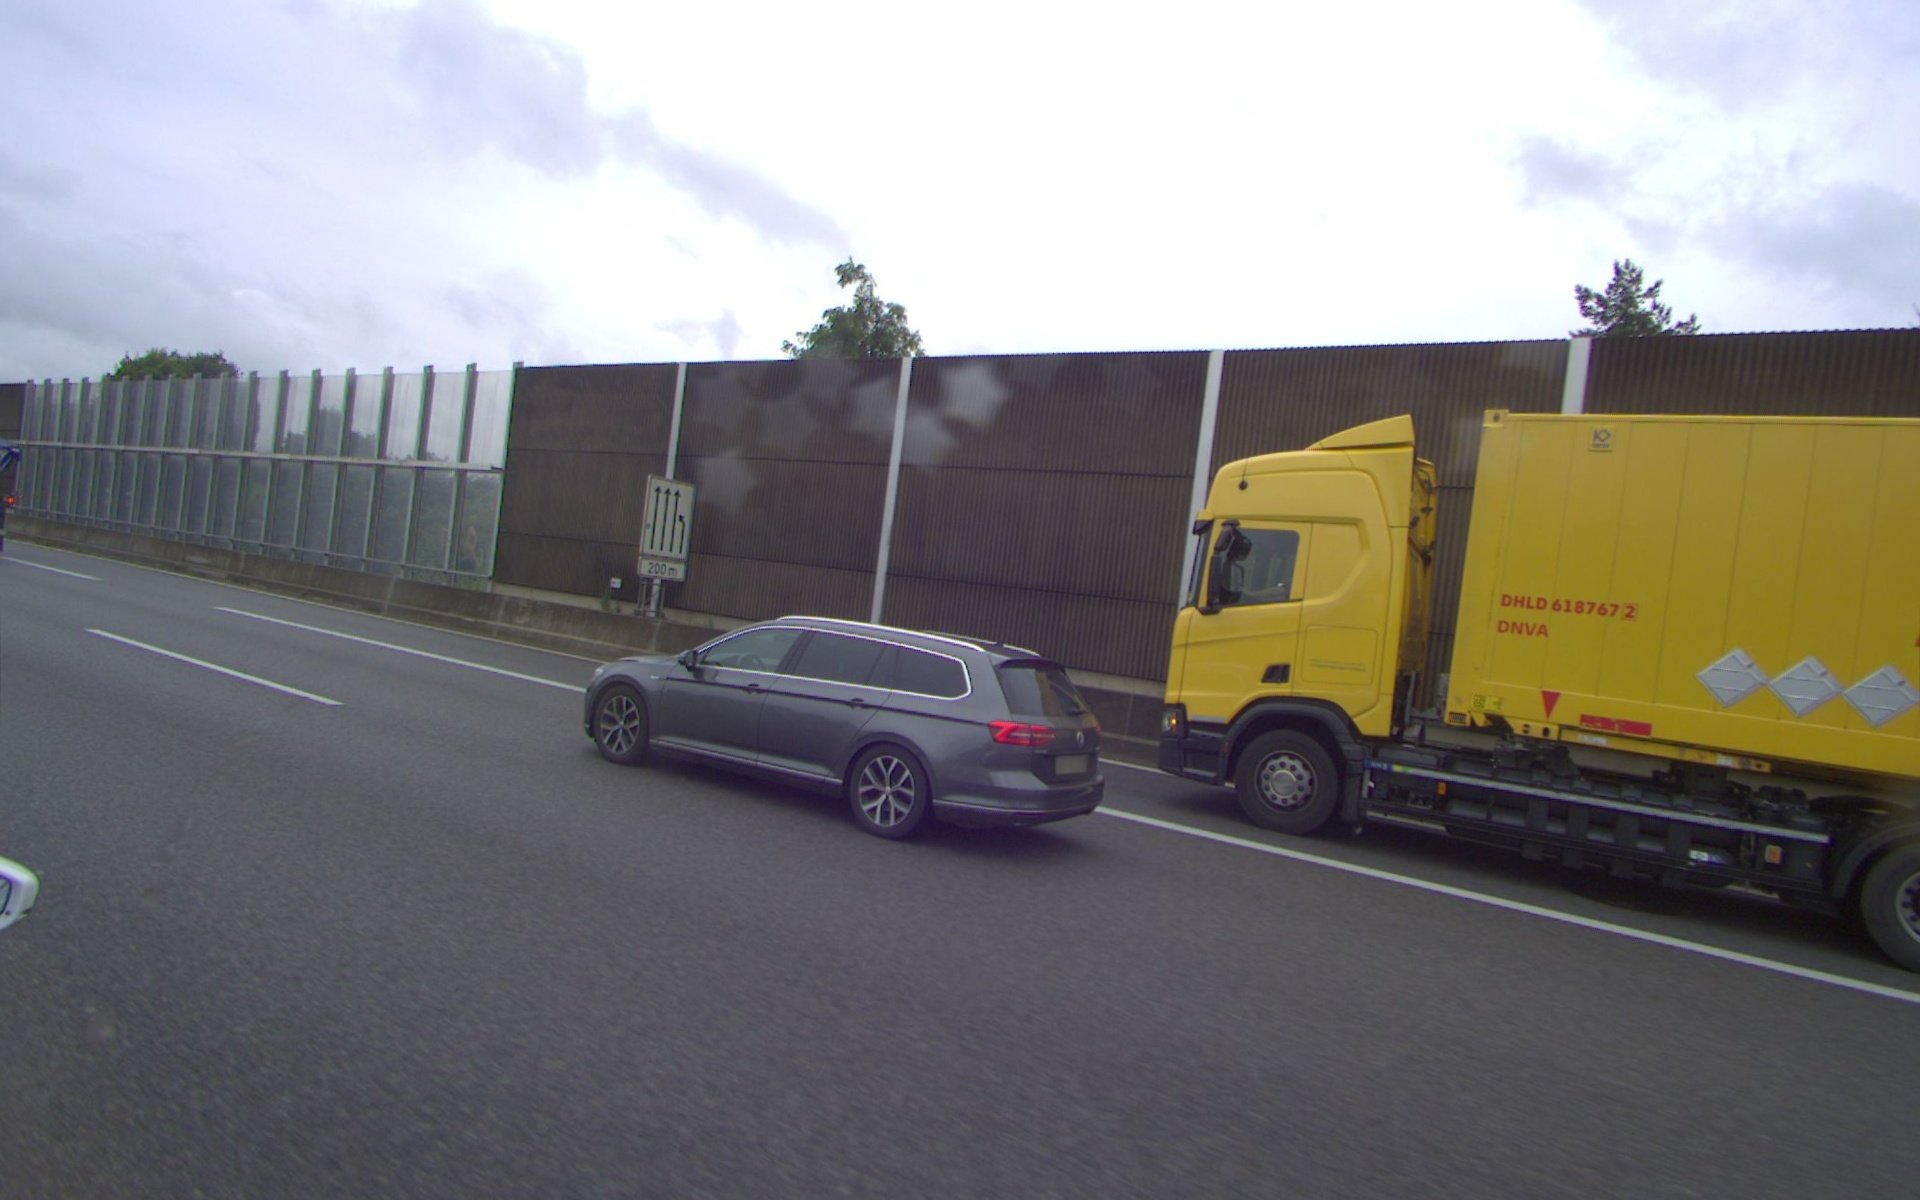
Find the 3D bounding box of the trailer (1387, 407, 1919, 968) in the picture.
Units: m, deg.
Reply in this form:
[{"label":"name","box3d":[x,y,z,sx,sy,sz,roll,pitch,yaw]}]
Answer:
[{"label":"trailer","box3d":[11.691,1.216,5.886,16.405,3.999,2.656,7,-1,31]}]

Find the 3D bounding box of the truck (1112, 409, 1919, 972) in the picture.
[{"label":"truck","box3d":[6.378,0.626,9.082,9.169,4.004,2.691,7,-1,30]}]

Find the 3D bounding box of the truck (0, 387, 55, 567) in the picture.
[{"label":"truck","box3d":[-27.624,-3.500,25.689,12.731,3.999,3.092,7,0,32]}]

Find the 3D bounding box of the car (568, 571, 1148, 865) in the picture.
[{"label":"car","box3d":[-0.936,0.786,8.115,4.395,1.473,1.667,7,-2,31]}]

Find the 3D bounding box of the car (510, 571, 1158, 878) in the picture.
[{"label":"car","box3d":[-1.223,0.830,8.439,5.201,1.444,1.944,7,-2,31]}]
